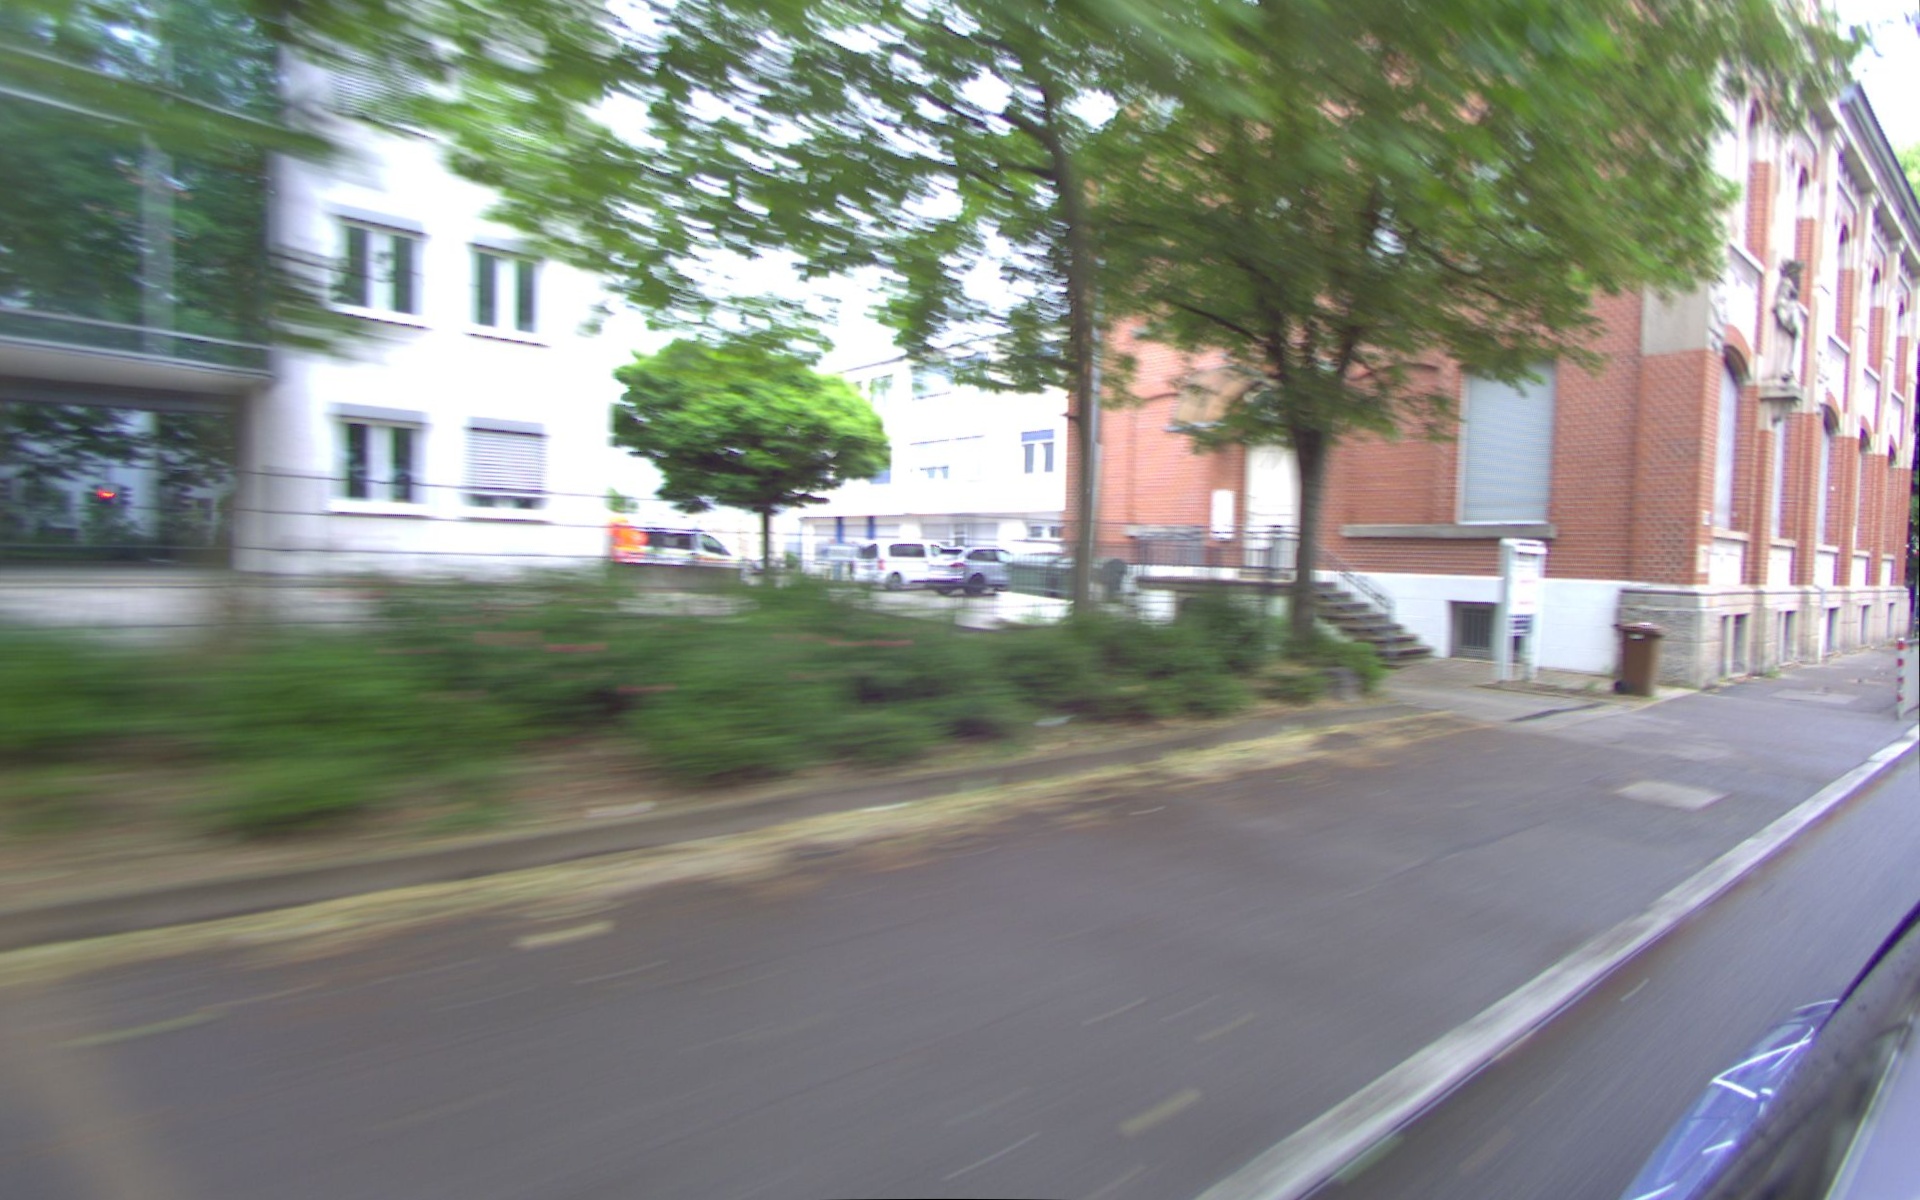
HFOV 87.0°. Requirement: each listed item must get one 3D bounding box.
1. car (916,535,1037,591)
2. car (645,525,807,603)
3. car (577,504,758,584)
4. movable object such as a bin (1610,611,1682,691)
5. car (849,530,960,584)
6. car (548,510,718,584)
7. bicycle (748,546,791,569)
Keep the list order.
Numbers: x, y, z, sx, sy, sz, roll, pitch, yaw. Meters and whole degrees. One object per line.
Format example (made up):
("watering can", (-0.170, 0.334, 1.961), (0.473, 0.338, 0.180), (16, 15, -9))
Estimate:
("car", (0.609, -1.260, 35.284), (3.927, 1.841, 1.912), (-2, 1, -40))
("car", (-6.350, -0.965, 27.655), (3.927, 1.973, 1.819), (-2, 1, -40))
("car", (-9.284, -1.733, 32.440), (5.204, 2.358, 2.035), (-2, 1, -40))
("movable object such as a bin", (8.802, 0.642, 12.985), (0.562, 0.944, 0.592), (0, 4, -41))
("car", (-2.125, -1.617, 39.099), (3.927, 1.973, 1.912), (-2, 1, -40))
("car", (-11.190, -1.764, 34.850), (5.204, 2.358, 2.035), (-2, 1, -40))
("bicycle", (-9.618, -2.120, 51.086), (2.083, 1.124, 0.559), (-1, 1, -38))
